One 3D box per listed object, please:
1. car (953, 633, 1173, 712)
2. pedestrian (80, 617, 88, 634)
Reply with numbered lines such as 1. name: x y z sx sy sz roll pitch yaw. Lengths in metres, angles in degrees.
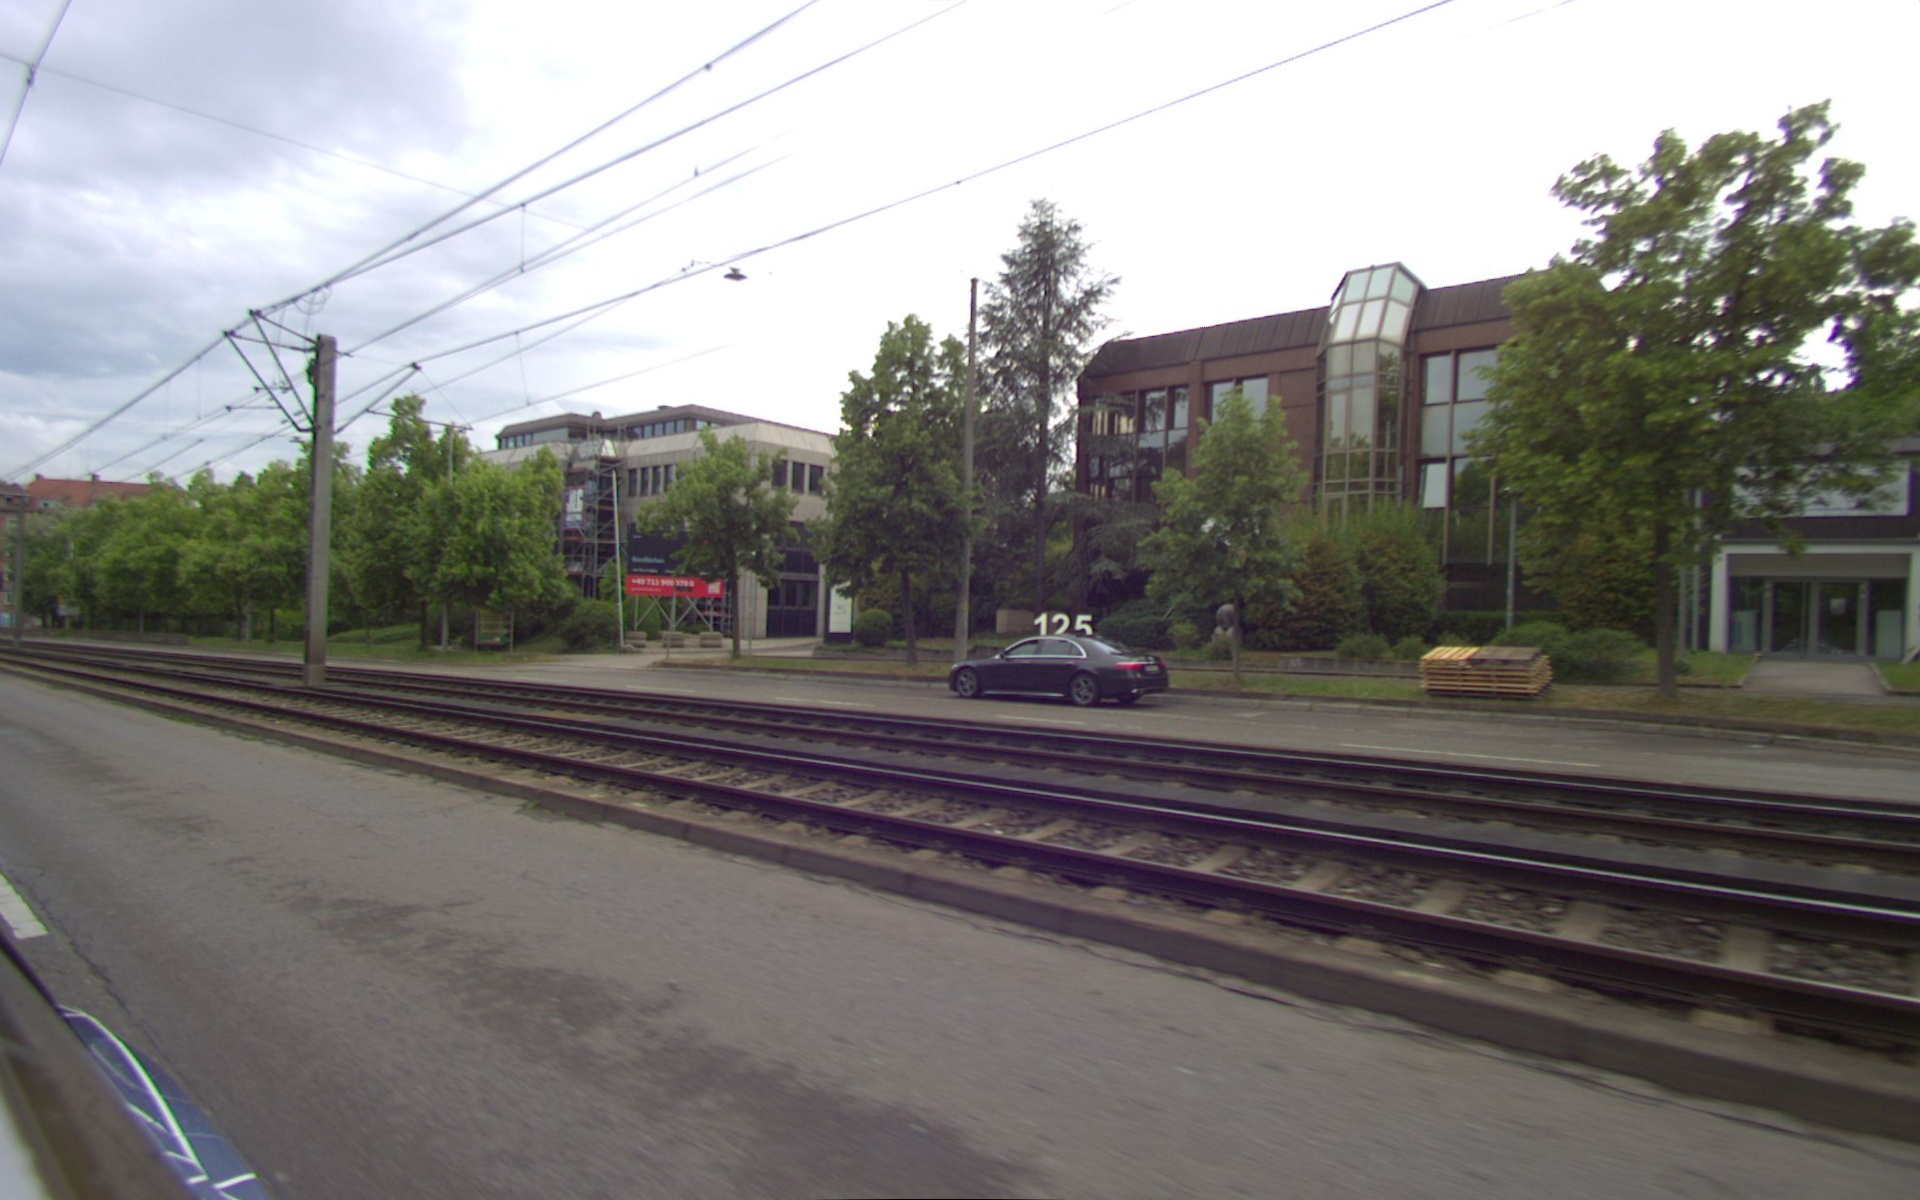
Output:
1. car: 2.189 1.511 22.278 4.617 1.542 1.776 -1 -2 39
2. pedestrian: -100.371 2.912 115.945 0.653 1.917 0.590 -1 -1 37
